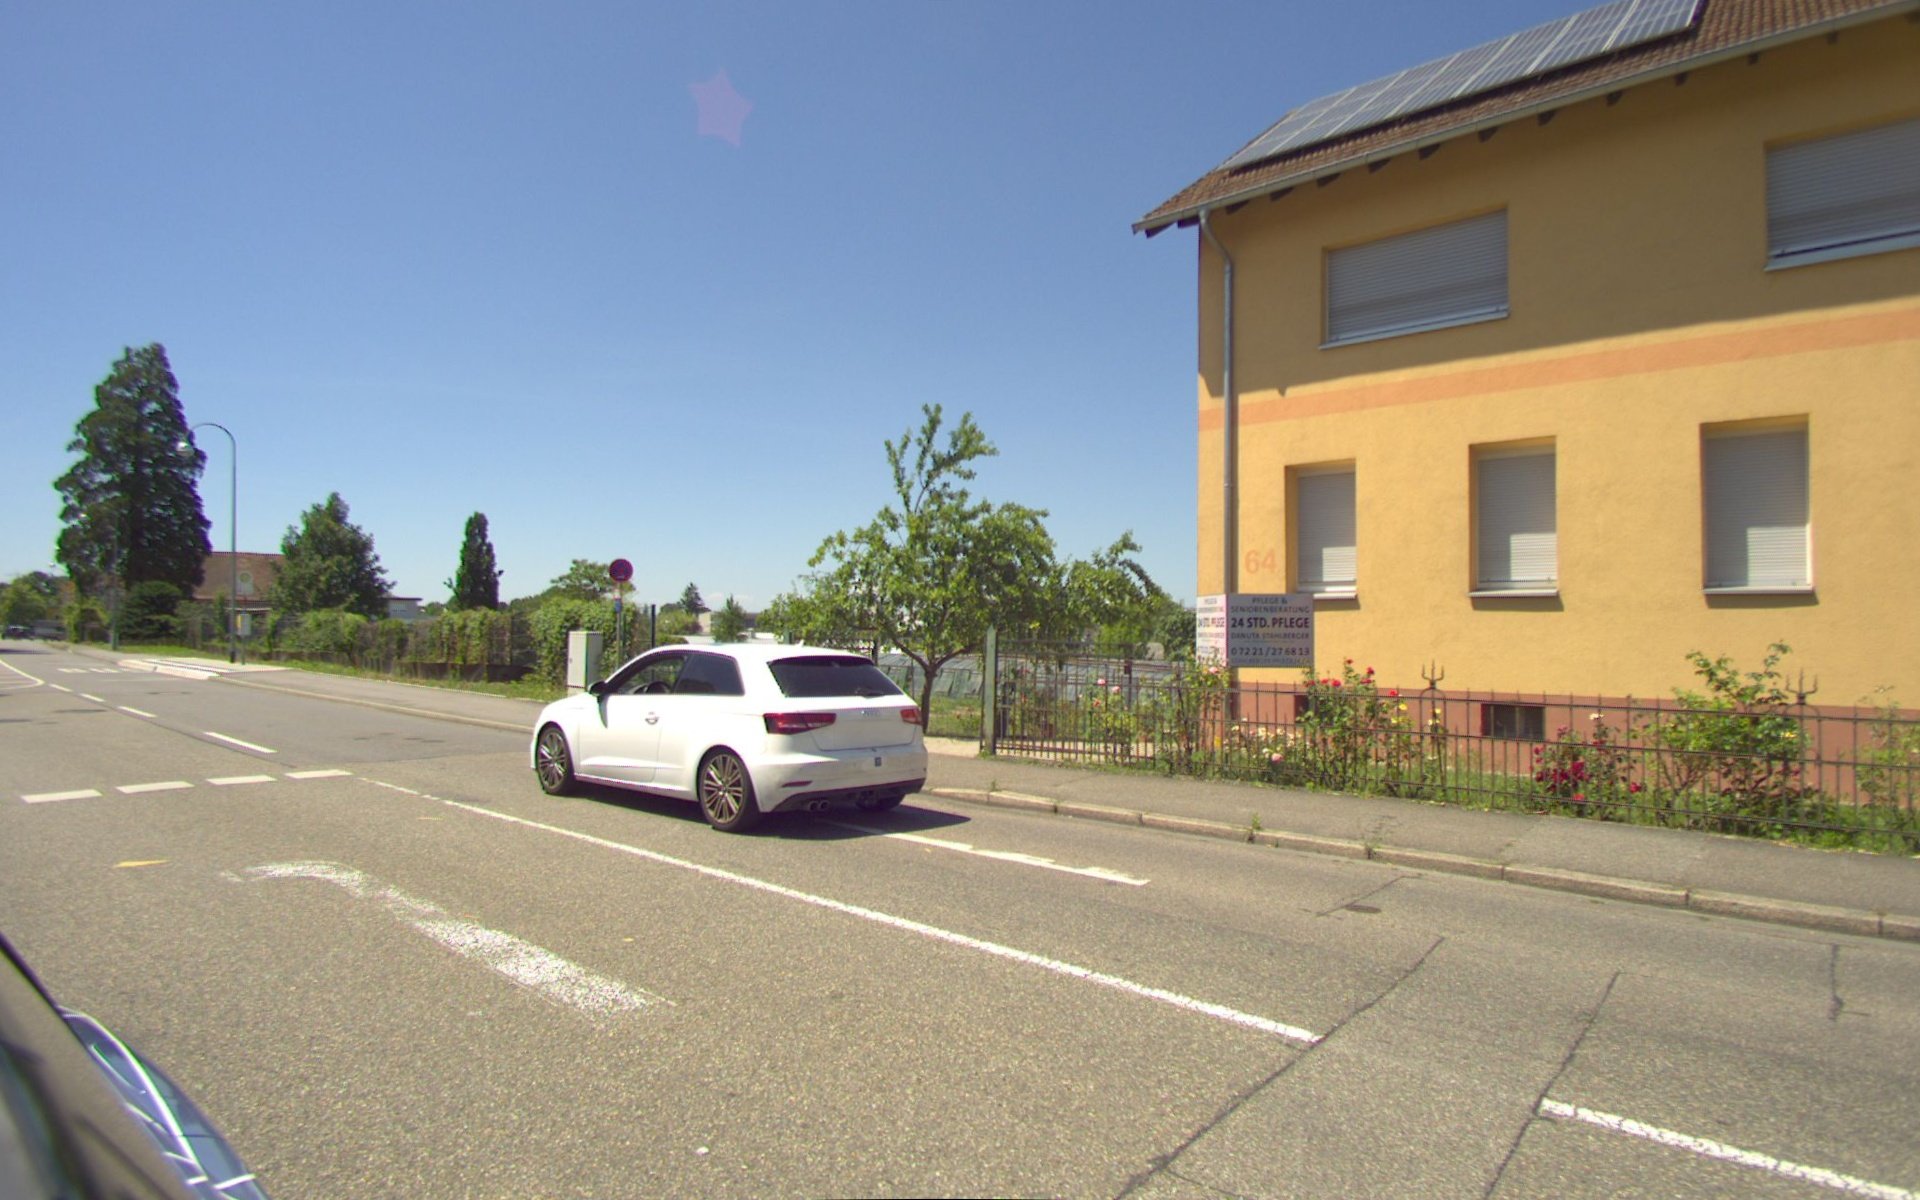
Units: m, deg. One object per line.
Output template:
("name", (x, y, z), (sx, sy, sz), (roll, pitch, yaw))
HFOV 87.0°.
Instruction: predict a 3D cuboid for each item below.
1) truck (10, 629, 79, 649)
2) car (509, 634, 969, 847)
("truck", (-107.292, 4.553, 118.631), (6.185, 2.258, 2.618), (0, -2, 8))
("car", (-2.058, 1.015, 8.692), (4.204, 1.383, 1.663), (-2, -4, 41))
